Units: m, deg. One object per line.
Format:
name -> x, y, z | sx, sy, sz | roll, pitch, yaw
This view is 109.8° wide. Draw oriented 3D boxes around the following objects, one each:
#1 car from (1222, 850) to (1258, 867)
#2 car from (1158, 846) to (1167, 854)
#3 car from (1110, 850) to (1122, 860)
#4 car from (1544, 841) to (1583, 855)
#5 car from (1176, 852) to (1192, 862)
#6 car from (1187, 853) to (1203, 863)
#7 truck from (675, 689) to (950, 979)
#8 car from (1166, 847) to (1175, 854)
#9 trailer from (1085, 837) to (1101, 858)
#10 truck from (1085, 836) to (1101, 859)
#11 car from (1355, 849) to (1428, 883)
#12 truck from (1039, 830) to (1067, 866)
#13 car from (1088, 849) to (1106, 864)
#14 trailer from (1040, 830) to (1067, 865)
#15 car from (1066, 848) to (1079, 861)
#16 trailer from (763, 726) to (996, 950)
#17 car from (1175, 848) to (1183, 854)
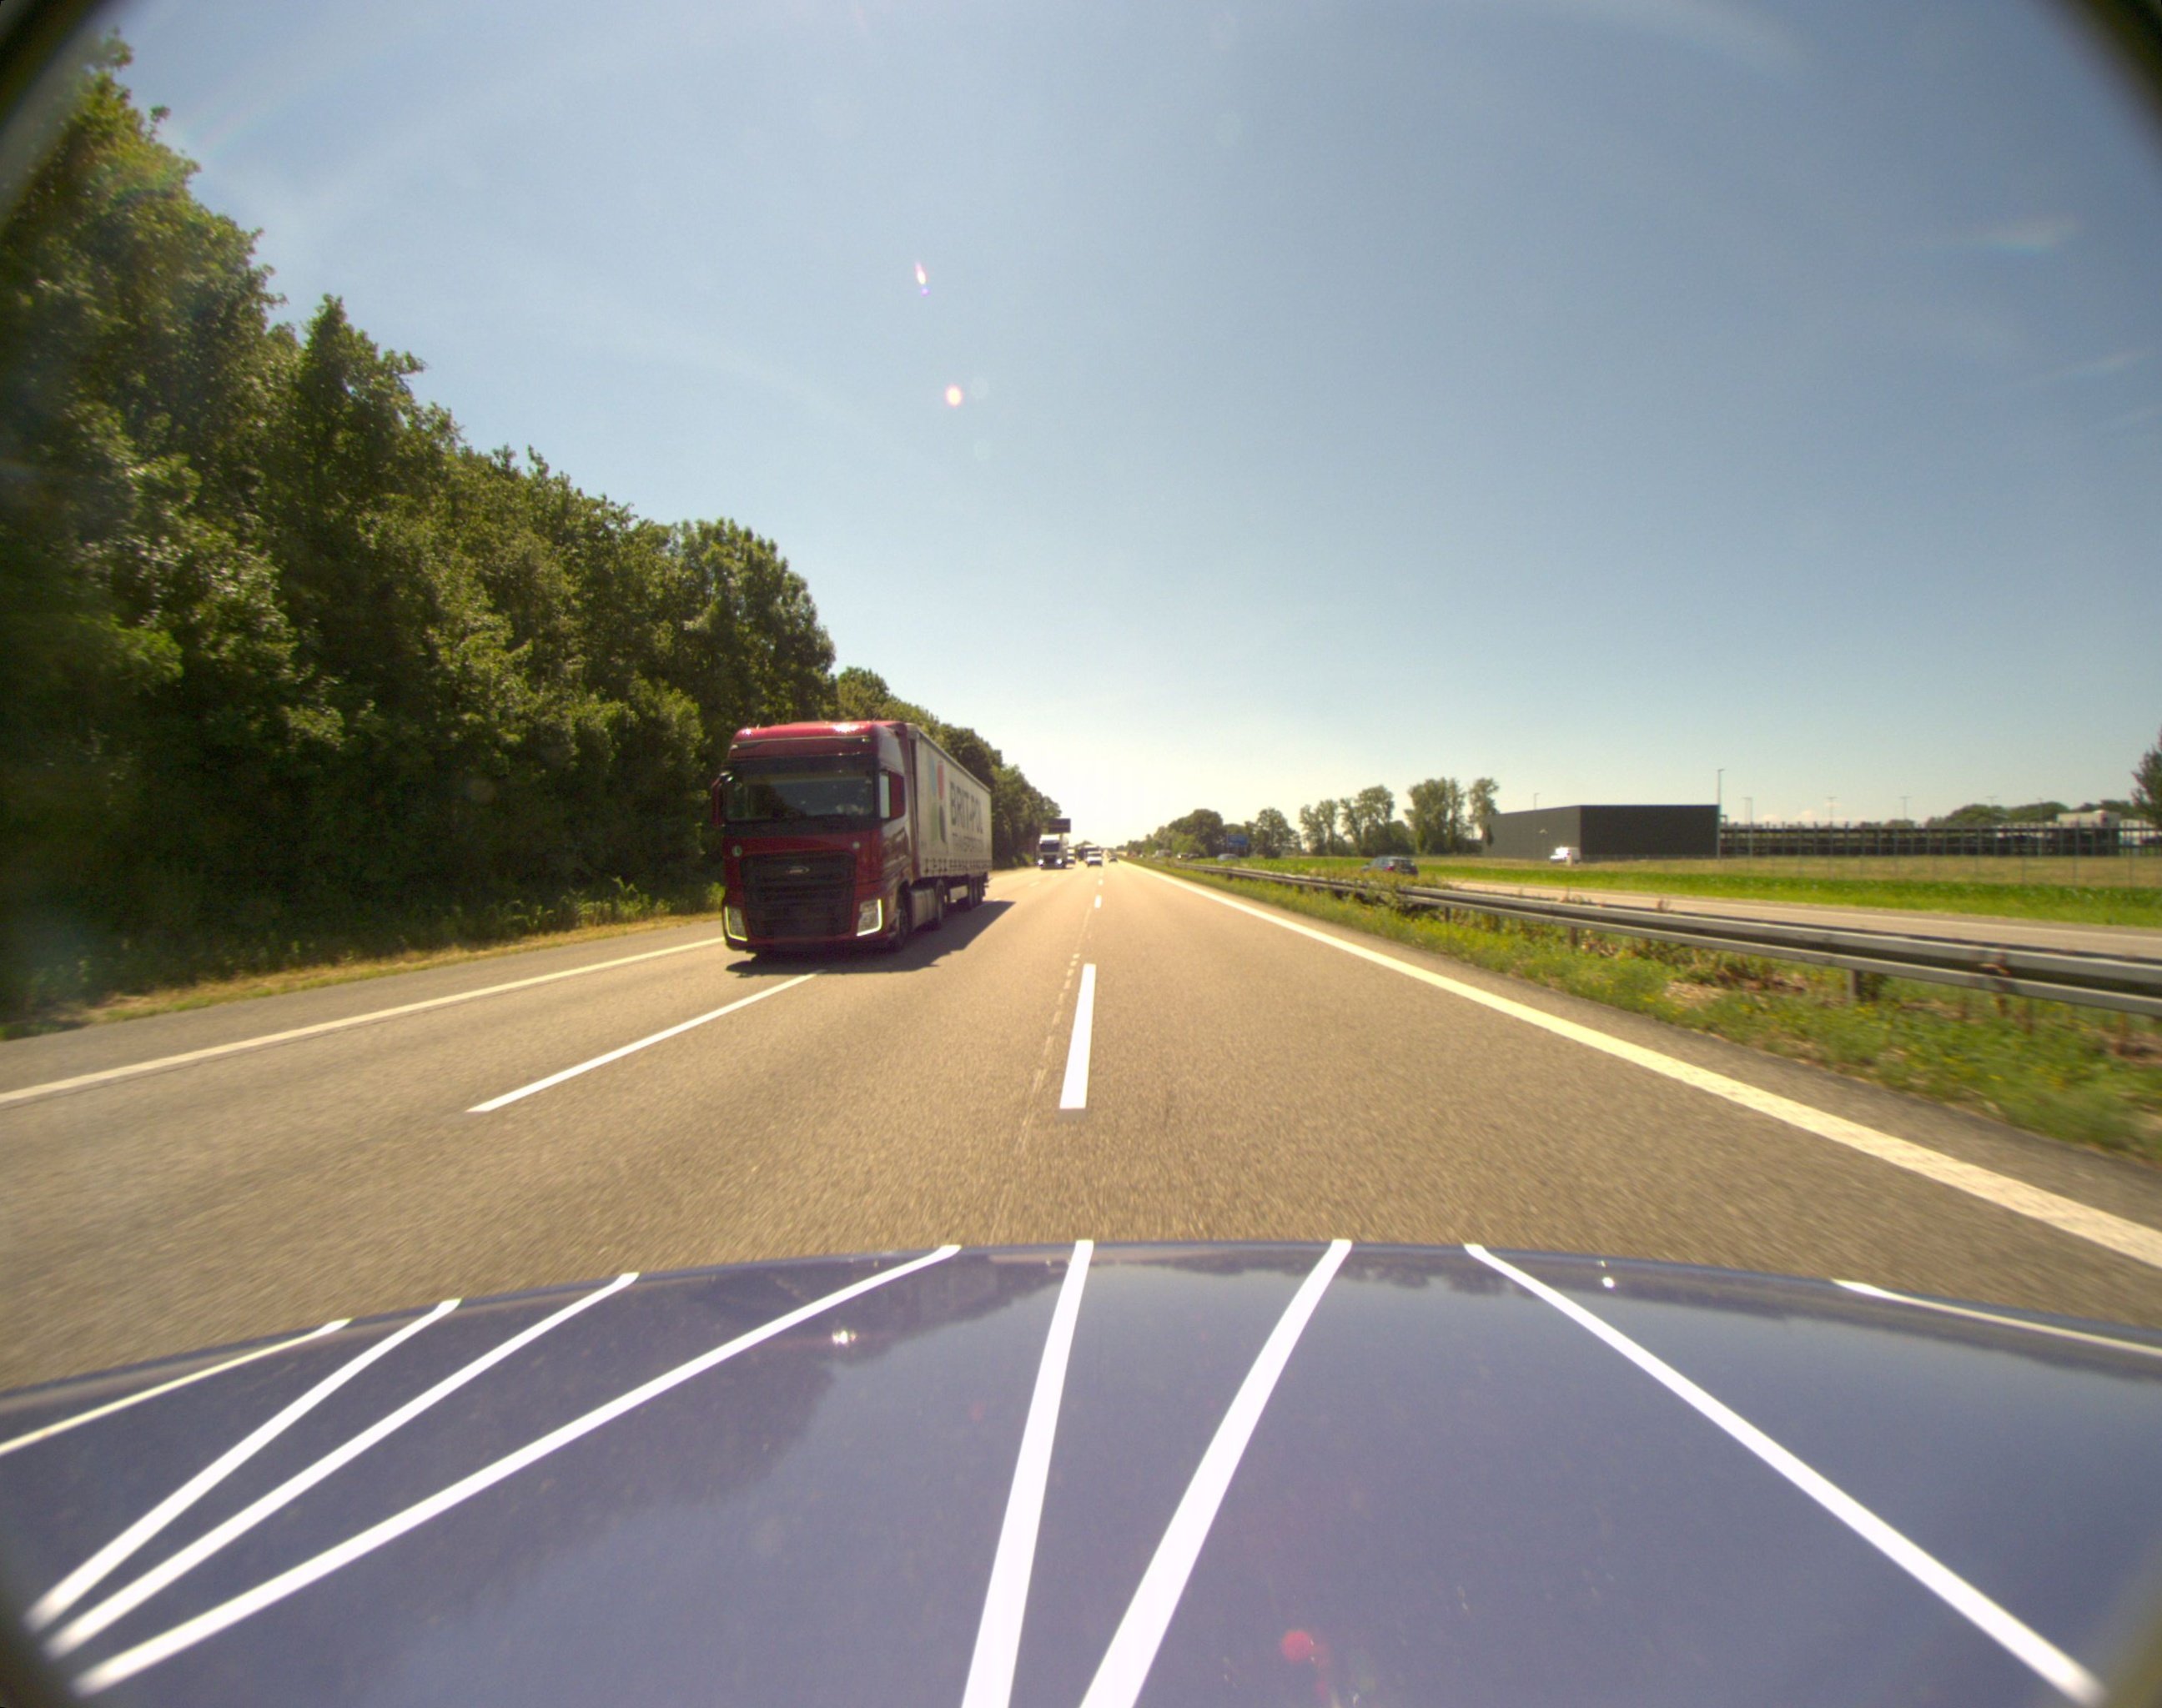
car -> 13.175, 0.368, 63.255 | 2.072, 1.344, 5.110 | 0, 0, 1
car -> 21.636, -1.085, 202.550 | 2.072, 2.041, 5.110 | 0, 0, 1
car -> 6.923, 0.134, 150.267 | 2.073, 1.959, 5.109 | 0, 0, 0
car -> 78.332, -1.023, 123.407 | 2.559, 2.235, 6.082 | 0, 0, 1
car -> 14.242, 0.443, 105.614 | 1.729, 1.344, 4.369 | 0, 0, 1
car -> 19.572, 0.669, 130.703 | 2.072, 1.520, 5.110 | 0, 0, 1
truck -> -4.314, -0.298, 13.702 | 2.870, 4.046, 5.770 | -2, 0, -1
car -> 27.951, -1.036, 237.260 | 2.072, 2.041, 5.110 | 0, 0, 1
trailer -> 2.370, -1.270, 152.157 | 3.005, 4.046, 13.835 | -2, 0, 1
truck -> 2.264, -1.233, 144.569 | 2.998, 4.046, 5.771 | -2, 0, 1
car -> 16.622, 0.584, 40.989 | 2.019, 1.735, 4.910 | 0, 0, 1
truck -> -3.225, -0.712, 88.849 | 3.064, 4.046, 5.770 | -2, 0, -1
car -> 2.003, 0.336, 96.392 | 2.073, 1.823, 5.109 | 0, 0, 0
trailer -> -3.377, -0.761, 95.814 | 3.057, 4.046, 13.832 | -2, 0, -1
car -> -1.487, 0.037, 133.020 | 2.073, 2.328, 5.767 | 0, 0, 0
trailer -> -4.466, -0.328, 20.898 | 2.886, 4.046, 13.832 | -2, 0, -1
car -> 33.841, -1.095, 263.134 | 2.072, 2.041, 5.110 | 0, 0, 1
